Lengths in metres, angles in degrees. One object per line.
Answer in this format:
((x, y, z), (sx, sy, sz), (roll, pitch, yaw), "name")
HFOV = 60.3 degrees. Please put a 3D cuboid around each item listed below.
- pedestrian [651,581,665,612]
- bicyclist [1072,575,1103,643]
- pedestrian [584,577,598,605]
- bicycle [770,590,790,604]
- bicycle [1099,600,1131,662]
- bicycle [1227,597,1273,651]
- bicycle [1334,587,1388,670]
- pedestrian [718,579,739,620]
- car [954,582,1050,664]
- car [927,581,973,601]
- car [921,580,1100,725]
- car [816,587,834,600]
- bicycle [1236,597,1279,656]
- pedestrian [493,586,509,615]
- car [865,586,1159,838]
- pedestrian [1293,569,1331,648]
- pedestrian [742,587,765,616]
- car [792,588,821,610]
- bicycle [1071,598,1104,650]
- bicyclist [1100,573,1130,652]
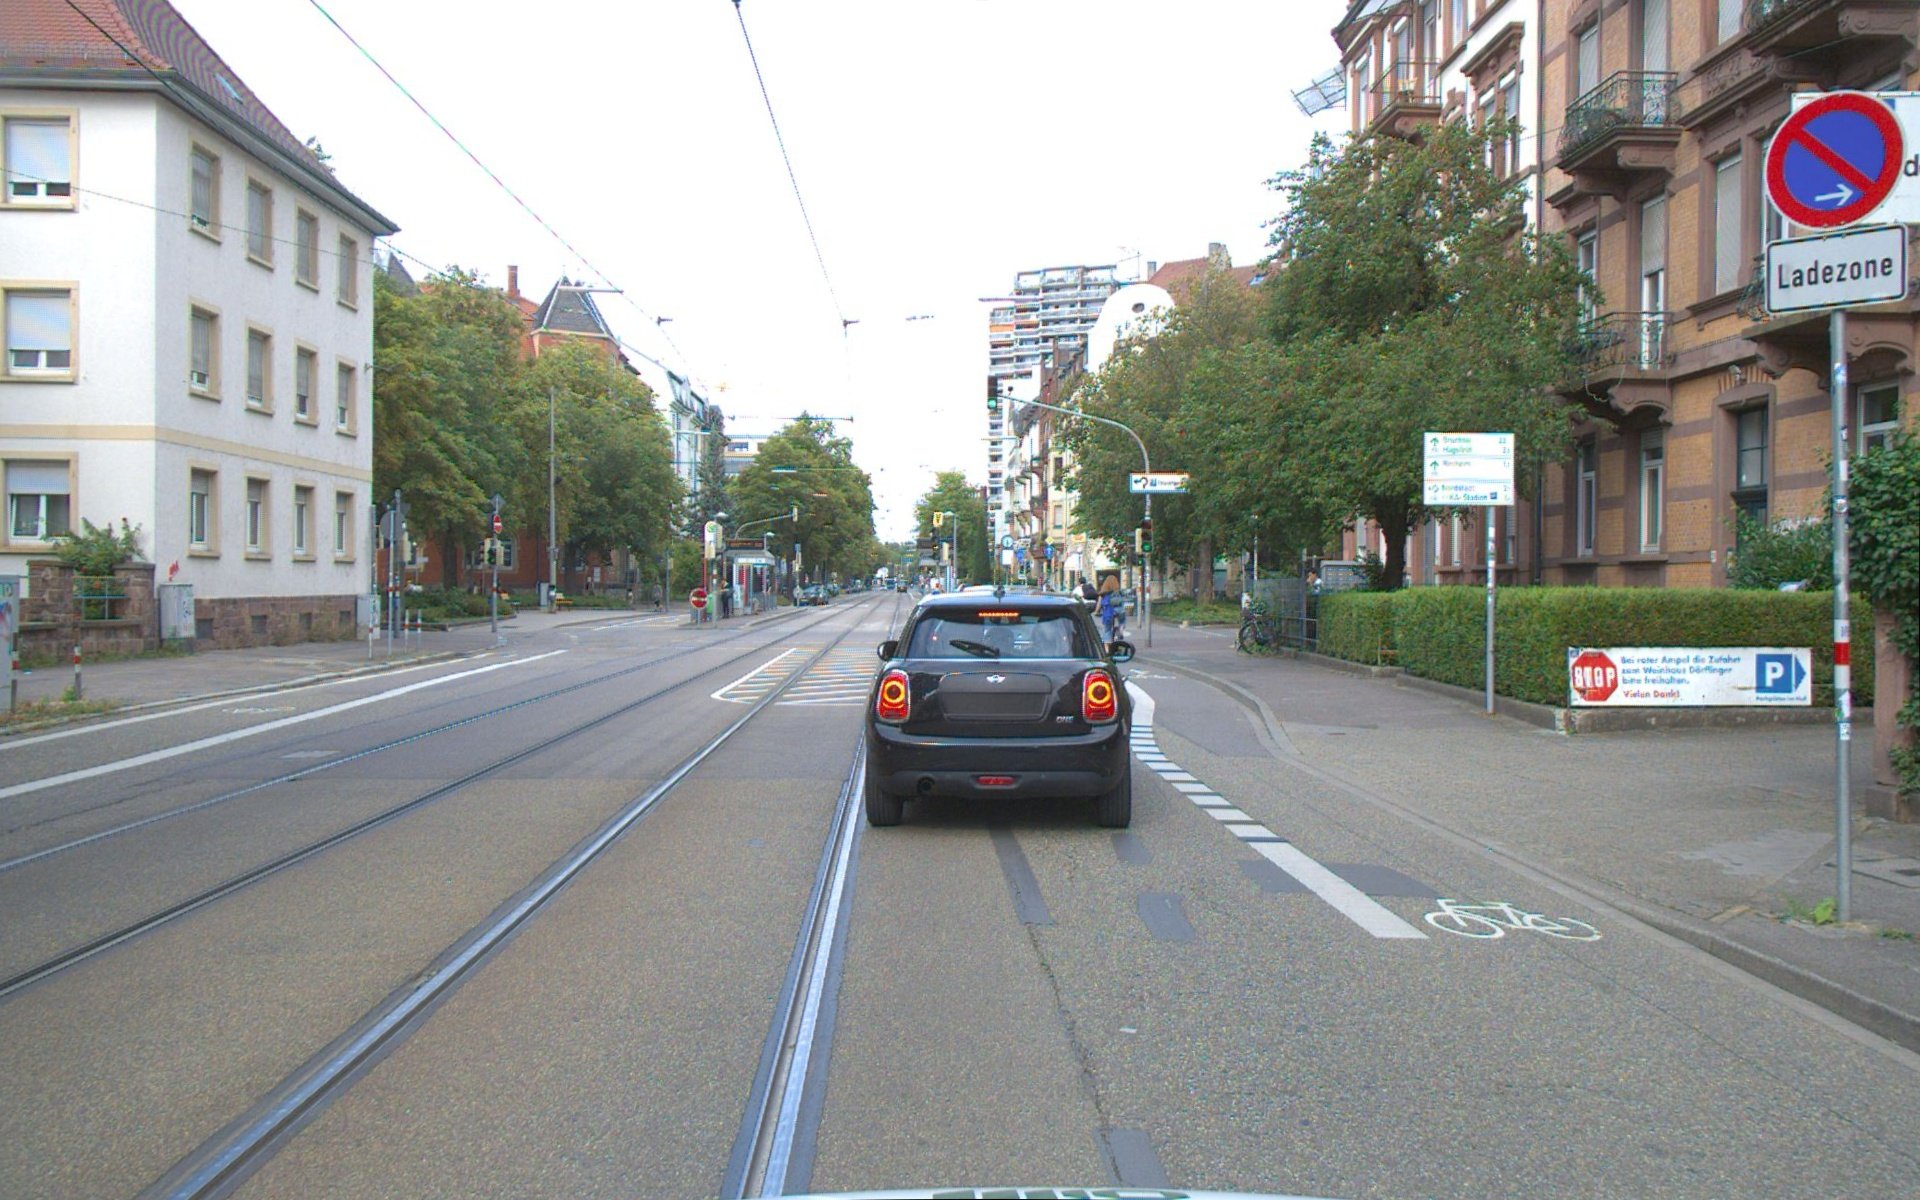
((-17.618, -0.205, 96.576), (0.680, 1.749, 0.758), (0, 0, 0), "pedestrian")
((3.031, 0.200, 39.328), (0.670, 1.591, 0.998), (0, 0, 0), "bicyclist")
((-23.289, -0.586, 104.401), (0.817, 1.732, 0.731), (0, 0, -7), "pedestrian")
((-14.995, -0.247, 138.021), (1.657, 1.138, 0.564), (-1, 1, -42), "bicycle")
((3.128, 0.609, 33.422), (0.586, 1.190, 1.697), (0, 1, 4), "bicycle")
((6.282, 0.501, 35.853), (0.657, 1.125, 1.671), (0, 1, -2), "bicycle")
((6.490, 0.441, 26.808), (0.505, 1.304, 1.550), (0, 1, 0), "bicycle")
((-9.392, -0.033, 67.192), (0.835, 1.649, 0.842), (0, 0, -7), "pedestrian")
((0.771, 0.398, 31.867), (1.715, 1.466, 4.480), (0, 0, 1), "car")
((-1.117, -1.060, 190.192), (4.997, 2.312, 2.360), (0, 0, -42), "car")
((0.570, 0.539, 19.473), (1.887, 1.536, 4.001), (0, 0, 1), "car")
((-16.889, -0.812, 207.164), (1.953, 1.579, 3.999), (0, 0, -1), "car")
((5.942, 0.519, 33.120), (0.498, 1.107, 1.550), (-3, 1, -1), "bicycle")
((-27.112, 0.023, 97.764), (0.817, 1.732, 0.731), (0, 0, -7), "pedestrian")
((0.368, 0.639, 11.665), (1.715, 1.466, 4.001), (0, 0, 2), "car")
((8.054, 0.178, 37.896), (0.715, 1.784, 0.950), (0, 0, 3), "pedestrian")
((-9.394, 0.075, 75.180), (1.038, 1.316, 0.984), (0, 0, -7), "pedestrian")
((-11.109, -0.088, 119.946), (1.716, 1.466, 4.000), (2, 0, 0), "car")
((3.029, 0.552, 39.394), (0.670, 1.190, 1.697), (0, 1, 0), "bicycle")
((3.127, 0.245, 33.409), (0.582, 1.577, 1.014), (0, 0, 4), "bicyclist")
